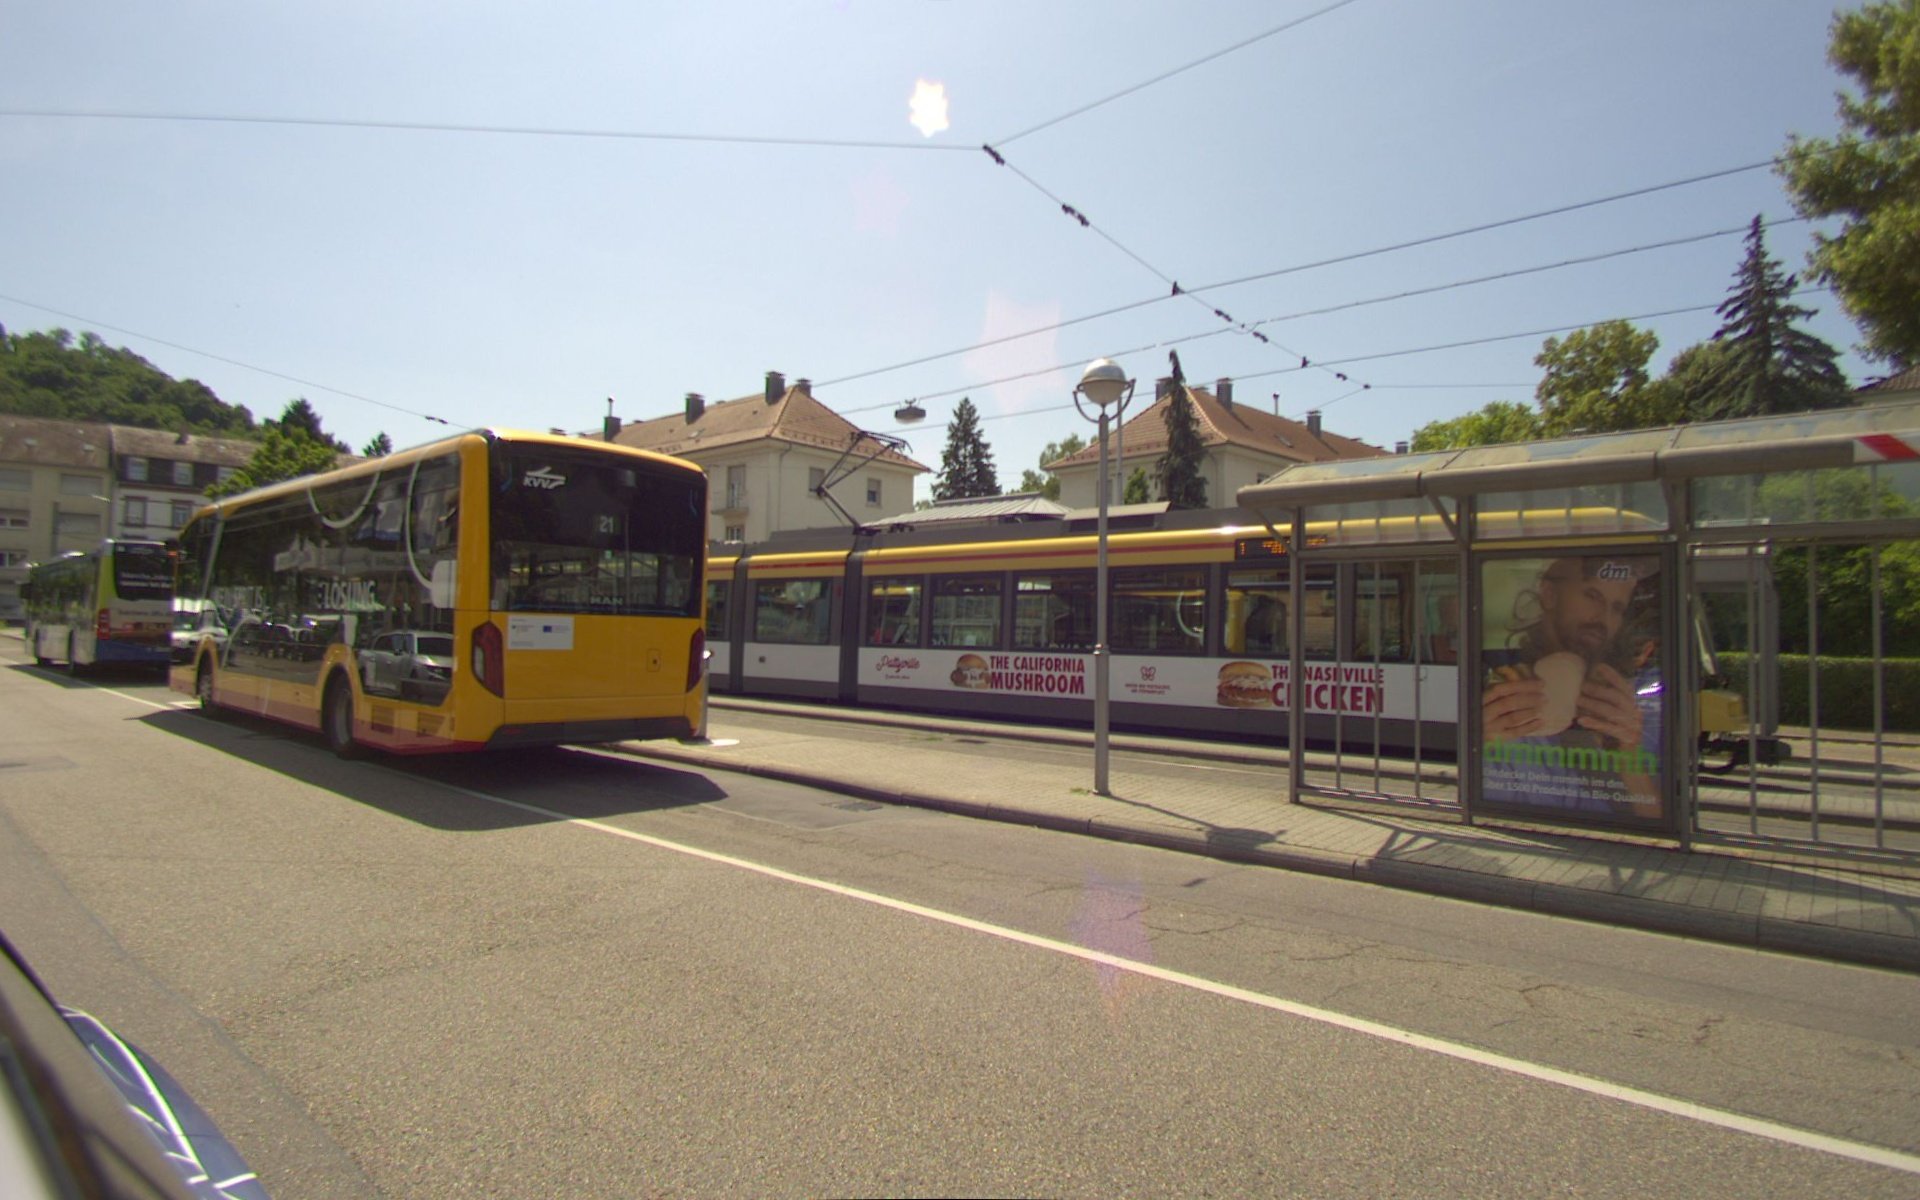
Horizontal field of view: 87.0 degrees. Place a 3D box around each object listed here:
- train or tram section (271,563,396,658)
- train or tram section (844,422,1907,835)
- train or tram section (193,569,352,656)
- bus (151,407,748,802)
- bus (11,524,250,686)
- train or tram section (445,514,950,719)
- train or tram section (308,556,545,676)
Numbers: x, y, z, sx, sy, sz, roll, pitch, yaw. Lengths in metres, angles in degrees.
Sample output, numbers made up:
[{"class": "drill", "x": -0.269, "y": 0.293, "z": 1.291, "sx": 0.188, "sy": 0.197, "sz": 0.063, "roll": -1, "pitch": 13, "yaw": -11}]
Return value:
[{"class": "train or tram section", "x": -25.094, "y": 0.470, "z": 40.503, "sx": 4.415, "sy": 3.522, "sz": 2.932, "roll": -1, "pitch": -3, "yaw": 41}, {"class": "train or tram section", "x": 4.097, "y": 0.305, "z": 14.732, "sx": 13.988, "sy": 3.670, "sz": 2.932, "roll": -1, "pitch": -1, "yaw": 41}, {"class": "train or tram section", "x": -31.490, "y": 0.560, "z": 46.011, "sx": 12.707, "sy": 3.522, "sz": 2.932, "roll": -1, "pitch": -1, "yaw": 41}, {"class": "bus", "x": -7.706, "y": -0.013, "z": 13.526, "sx": 12.193, "sy": 3.272, "sz": 2.867, "roll": 1, "pitch": 0, "yaw": 42}, {"class": "bus", "x": -22.136, "y": 0.252, "z": 26.600, "sx": 12.033, "sy": 3.453, "sz": 2.878, "roll": -2, "pitch": -2, "yaw": 41}, {"class": "train or tram section", "x": -7.648, "y": 0.360, "z": 25.047, "sx": 17.344, "sy": 3.670, "sz": 2.932, "roll": -1, "pitch": -1, "yaw": 41}, {"class": "train or tram section", "x": -18.759, "y": 0.518, "z": 34.925, "sx": 12.651, "sy": 3.522, "sz": 2.932, "roll": -1, "pitch": -1, "yaw": 41}]
